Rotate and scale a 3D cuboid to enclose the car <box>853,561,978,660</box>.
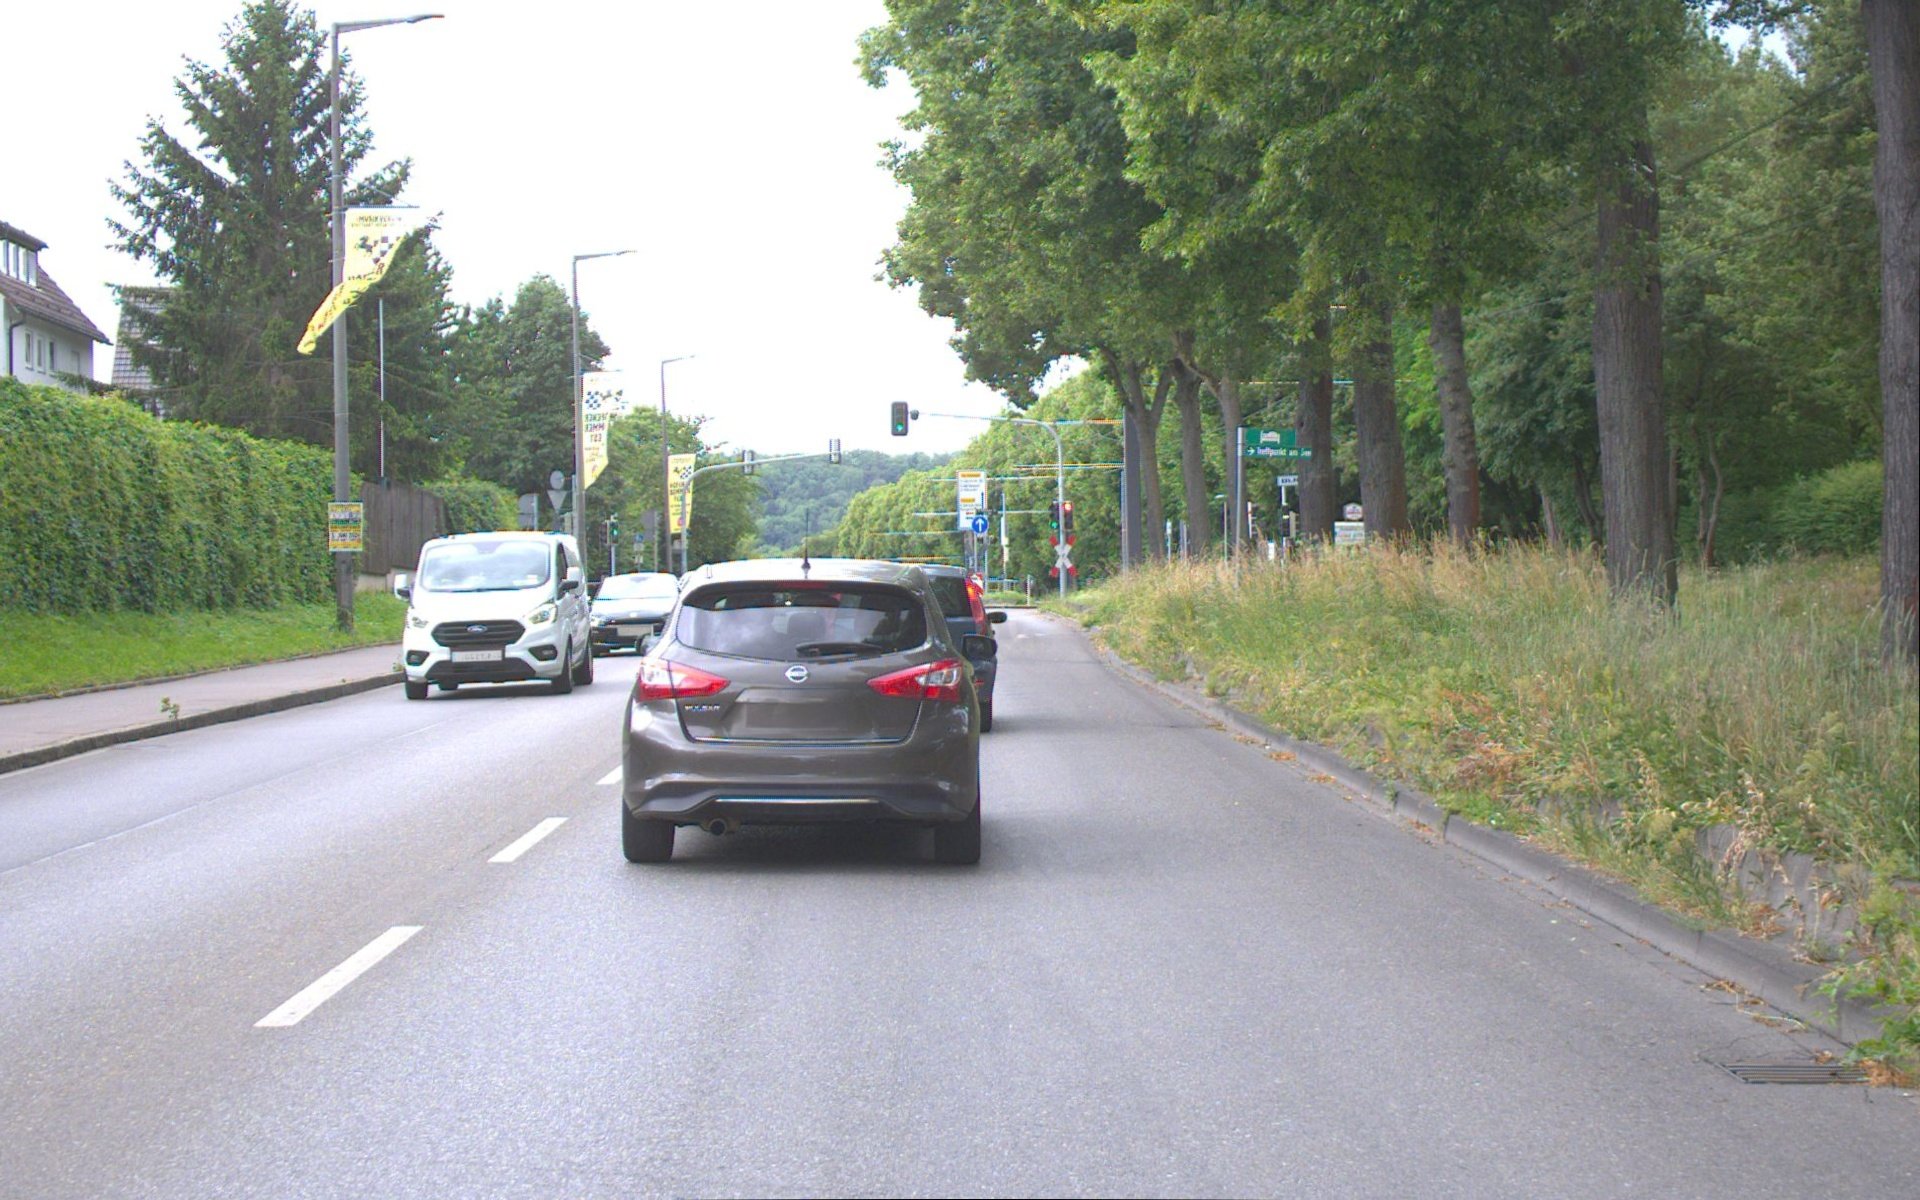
[{"bbox_3d":[-0.664,0.133,51.471,1.792,1.392,4.000,-1,1,-1],"label":"car"}]

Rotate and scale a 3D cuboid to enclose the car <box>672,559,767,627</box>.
[{"bbox_3d":[-5.182,-0.175,74.621,1.886,1.378,4.491,-2,1,-2],"label":"car"}]

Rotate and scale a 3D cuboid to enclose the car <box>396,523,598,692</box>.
[{"bbox_3d":[-5.685,0.088,42.723,1.906,1.926,4.911,-2,0,-1],"label":"car"}]

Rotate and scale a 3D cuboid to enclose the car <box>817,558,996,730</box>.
[{"bbox_3d":[-0.485,0.357,31.542,1.538,1.473,3.764,0,1,-1],"label":"car"}]

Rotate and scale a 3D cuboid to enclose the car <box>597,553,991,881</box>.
[{"bbox_3d":[-0.806,0.523,18.426,1.835,1.514,4.483,1,1,-1],"label":"car"}]

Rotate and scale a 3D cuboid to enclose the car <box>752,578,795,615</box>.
[{"bbox_3d":[-8.307,-0.174,153.709,1.812,1.519,4.178,-2,1,-2],"label":"car"}]

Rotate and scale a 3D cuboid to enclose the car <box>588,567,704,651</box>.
[{"bbox_3d":[-5.404,0.124,59.591,1.650,1.343,4.478,-2,1,-1],"label":"car"}]
